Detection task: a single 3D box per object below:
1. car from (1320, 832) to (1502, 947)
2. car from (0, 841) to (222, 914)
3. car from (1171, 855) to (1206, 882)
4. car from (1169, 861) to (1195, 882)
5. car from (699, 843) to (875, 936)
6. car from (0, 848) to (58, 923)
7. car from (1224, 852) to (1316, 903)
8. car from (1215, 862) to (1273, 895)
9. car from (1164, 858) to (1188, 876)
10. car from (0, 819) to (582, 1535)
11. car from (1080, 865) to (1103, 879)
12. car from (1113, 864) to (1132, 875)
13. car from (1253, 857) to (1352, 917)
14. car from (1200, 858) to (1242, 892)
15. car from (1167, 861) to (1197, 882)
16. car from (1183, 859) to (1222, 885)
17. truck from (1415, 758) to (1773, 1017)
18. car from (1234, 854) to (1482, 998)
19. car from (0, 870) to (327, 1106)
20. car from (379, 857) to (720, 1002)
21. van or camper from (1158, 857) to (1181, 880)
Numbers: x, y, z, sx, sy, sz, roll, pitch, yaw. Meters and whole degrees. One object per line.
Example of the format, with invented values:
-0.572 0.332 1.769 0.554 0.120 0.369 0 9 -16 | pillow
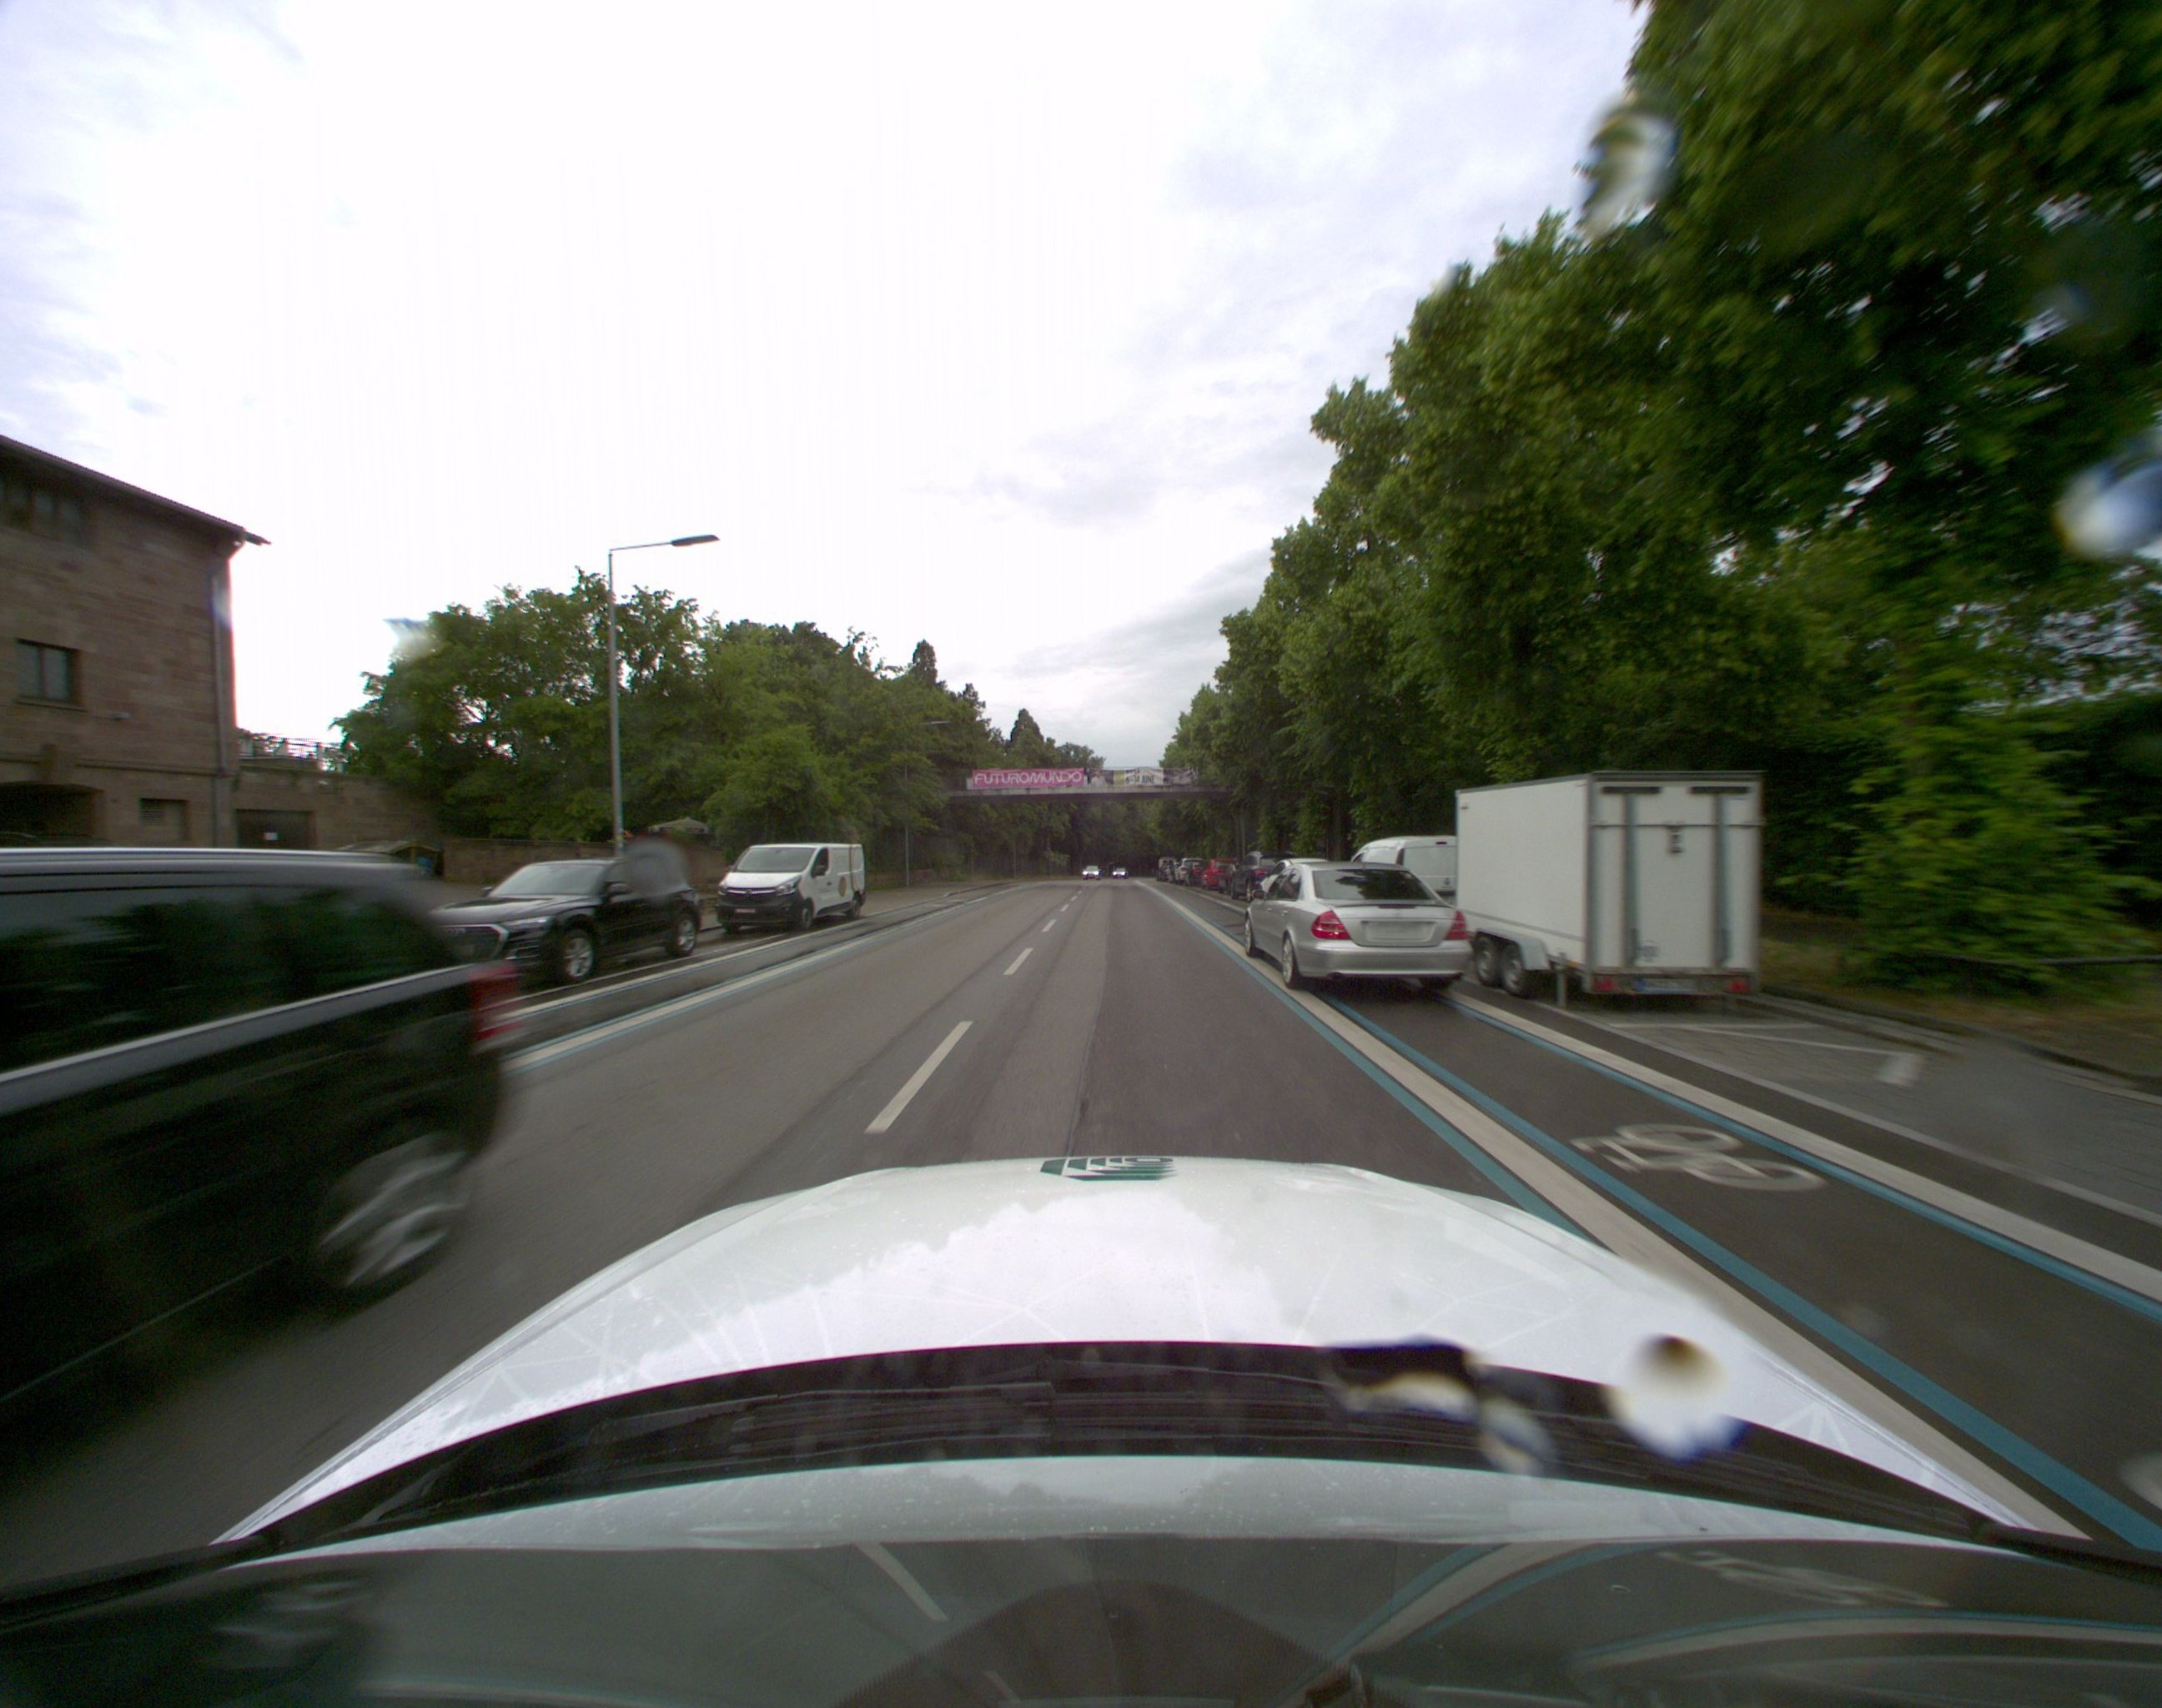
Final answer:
5.803 0.550 14.916 1.715 1.790 4.347 0 0 2 | car
-23.149 0.489 18.582 4.754 1.479 2.191 1 1 1 | car
6.765 0.958 51.579 1.707 1.619 4.261 0 -2 1 | car
7.712 1.380 62.455 1.654 1.535 3.743 1 -2 2 | car
-6.792 0.717 19.576 1.969 1.914 5.234 -1 1 4 | car
-23.080 0.571 15.458 4.291 1.432 2.261 1 0 -2 | car
6.227 0.711 27.395 1.988 1.560 4.641 0 0 -1 | car
6.574 0.952 33.277 1.620 1.190 4.184 0 0 1 | car
7.805 1.079 67.248 1.767 1.348 4.470 0 -2 4 | car
-3.324 0.767 1.800 1.704 1.618 4.152 -3 1 2 | car
1.201 1.954 89.748 1.960 1.552 3.880 0 -1 9 | car
6.002 2.233 116.667 1.782 1.577 4.119 -1 -2 16 | car
5.848 0.805 22.020 1.653 1.426 4.621 0 0 3 | car
6.662 0.975 39.120 1.553 1.466 3.628 0 1 2 | car
7.068 1.250 57.224 1.711 1.376 4.559 0 -3 2 | car
6.777 1.041 45.788 1.666 1.394 4.451 0 -2 2 | car
5.458 0.301 9.365 1.712 2.333 4.002 0 0 2 | truck
3.183 0.720 10.387 1.715 1.398 4.592 0 0 2 | car
-7.723 0.909 5.373 1.602 1.445 4.040 -2 0 2 | car
-7.352 0.905 12.010 1.817 1.616 4.665 -2 0 2 | car
10.704 1.808 98.344 2.303 2.665 6.398 0 -1 9 | van or camper
